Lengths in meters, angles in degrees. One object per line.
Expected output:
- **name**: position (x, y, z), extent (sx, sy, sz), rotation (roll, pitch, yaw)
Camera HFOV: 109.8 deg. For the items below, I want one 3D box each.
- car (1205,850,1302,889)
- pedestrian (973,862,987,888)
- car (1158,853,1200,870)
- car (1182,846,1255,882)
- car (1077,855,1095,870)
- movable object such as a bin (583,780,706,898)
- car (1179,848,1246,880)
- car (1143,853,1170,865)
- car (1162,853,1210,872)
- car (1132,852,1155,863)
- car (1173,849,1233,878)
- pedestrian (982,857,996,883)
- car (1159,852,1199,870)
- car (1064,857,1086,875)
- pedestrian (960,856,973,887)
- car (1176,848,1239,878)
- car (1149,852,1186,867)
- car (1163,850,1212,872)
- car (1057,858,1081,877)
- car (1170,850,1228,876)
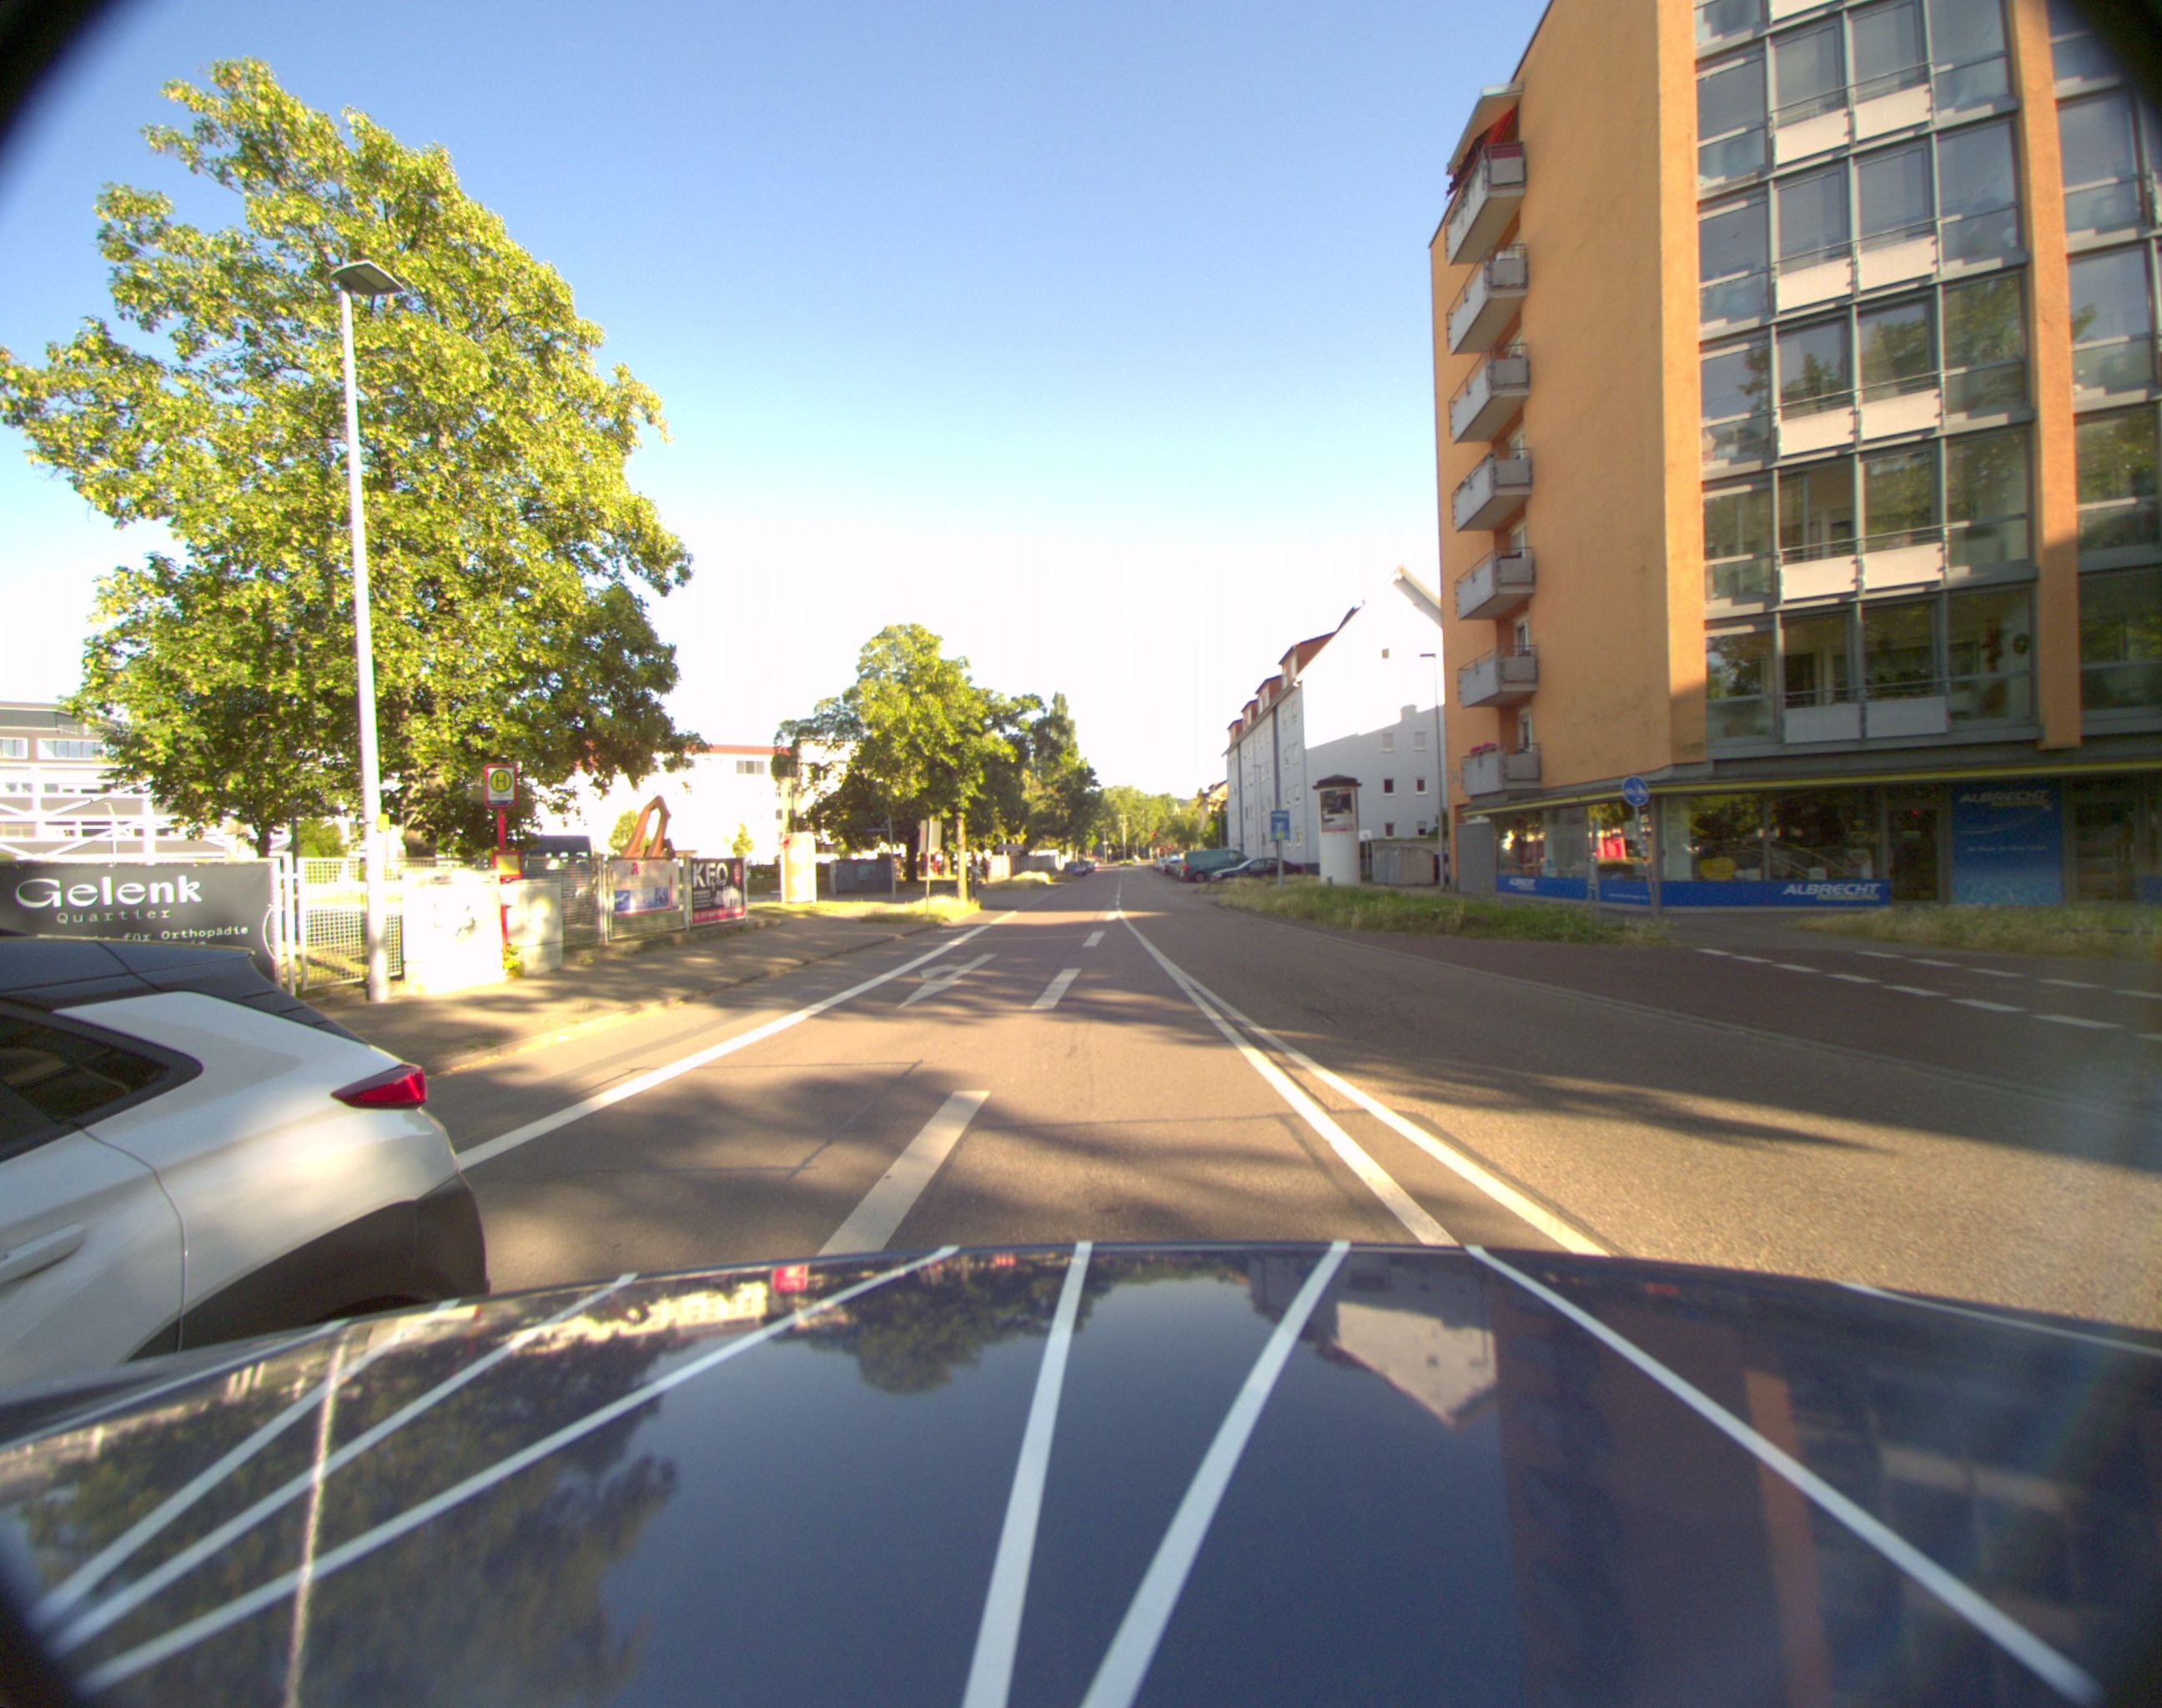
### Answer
- **car**: position (8.294, 0.730, 36.871), extent (4.423, 1.652, 2.001), rotation (-2, 1, 9)
- **pedestrian**: position (-5.583, 1.150, 42.042), extent (0.609, 1.426, 0.639), rotation (-2, 1, 1)
- **car**: position (10.303, 0.755, 79.929), extent (4.257, 1.564, 1.867), rotation (-2, 1, 5)
- **car**: position (8.260, 0.590, 45.892), extent (4.141, 1.936, 1.923), rotation (-2, 1, 4)
- **car**: position (0.564, 0.951, 87.974), extent (1.998, 1.521, 3.999), rotation (-2, 1, 1)
- **movable object such as a bin**: position (-22.233, -0.699, 38.546), extent (3.986, 5.447, 6.016), rotation (-3, 1, -42)
- **car**: position (8.352, 0.623, 48.584), extent (3.995, 1.805, 2.000), rotation (-2, 1, 5)
- **car**: position (10.461, 0.704, 105.240), extent (3.538, 1.564, 1.867), rotation (-2, 1, 5)
- **car**: position (9.564, 0.773, 69.372), extent (4.257, 1.564, 1.867), rotation (-2, 1, 5)
- **car**: position (9.697, 0.589, 118.220), extent (3.538, 1.564, 1.867), rotation (-2, 1, 5)
- **car**: position (8.567, 0.667, 53.691), extent (4.059, 1.805, 1.937), rotation (-2, 1, 5)
- **pedestrian**: position (-5.849, 1.011, 48.537), extent (0.695, 1.659, 0.639), rotation (-2, 1, 5)
- **car**: position (10.255, 0.725, 80.064), extent (4.071, 1.741, 1.899), rotation (-2, 1, 5)
- **car**: position (-0.591, 1.151, 73.941), extent (1.998, 1.521, 3.999), rotation (-2, 1, 1)
- **pedestrian**: position (-6.397, 0.971, 42.382), extent (0.609, 1.727, 0.638), rotation (-2, 1, -5)
- **car**: position (8.496, 0.586, 51.340), extent (3.995, 1.805, 2.000), rotation (-2, 1, 5)
- **car**: position (10.218, 0.645, 90.187), extent (4.257, 1.564, 1.867), rotation (-2, 1, 5)
- **car**: position (9.270, 0.608, 66.485), extent (4.117, 1.762, 1.757), rotation (-2, 1, 5)
- **car**: position (-1.094, 1.219, 69.593), extent (1.998, 1.521, 3.999), rotation (-2, 1, 1)
- **car**: position (8.744, 0.662, 56.435), extent (4.071, 1.741, 1.899), rotation (-2, 1, 5)
